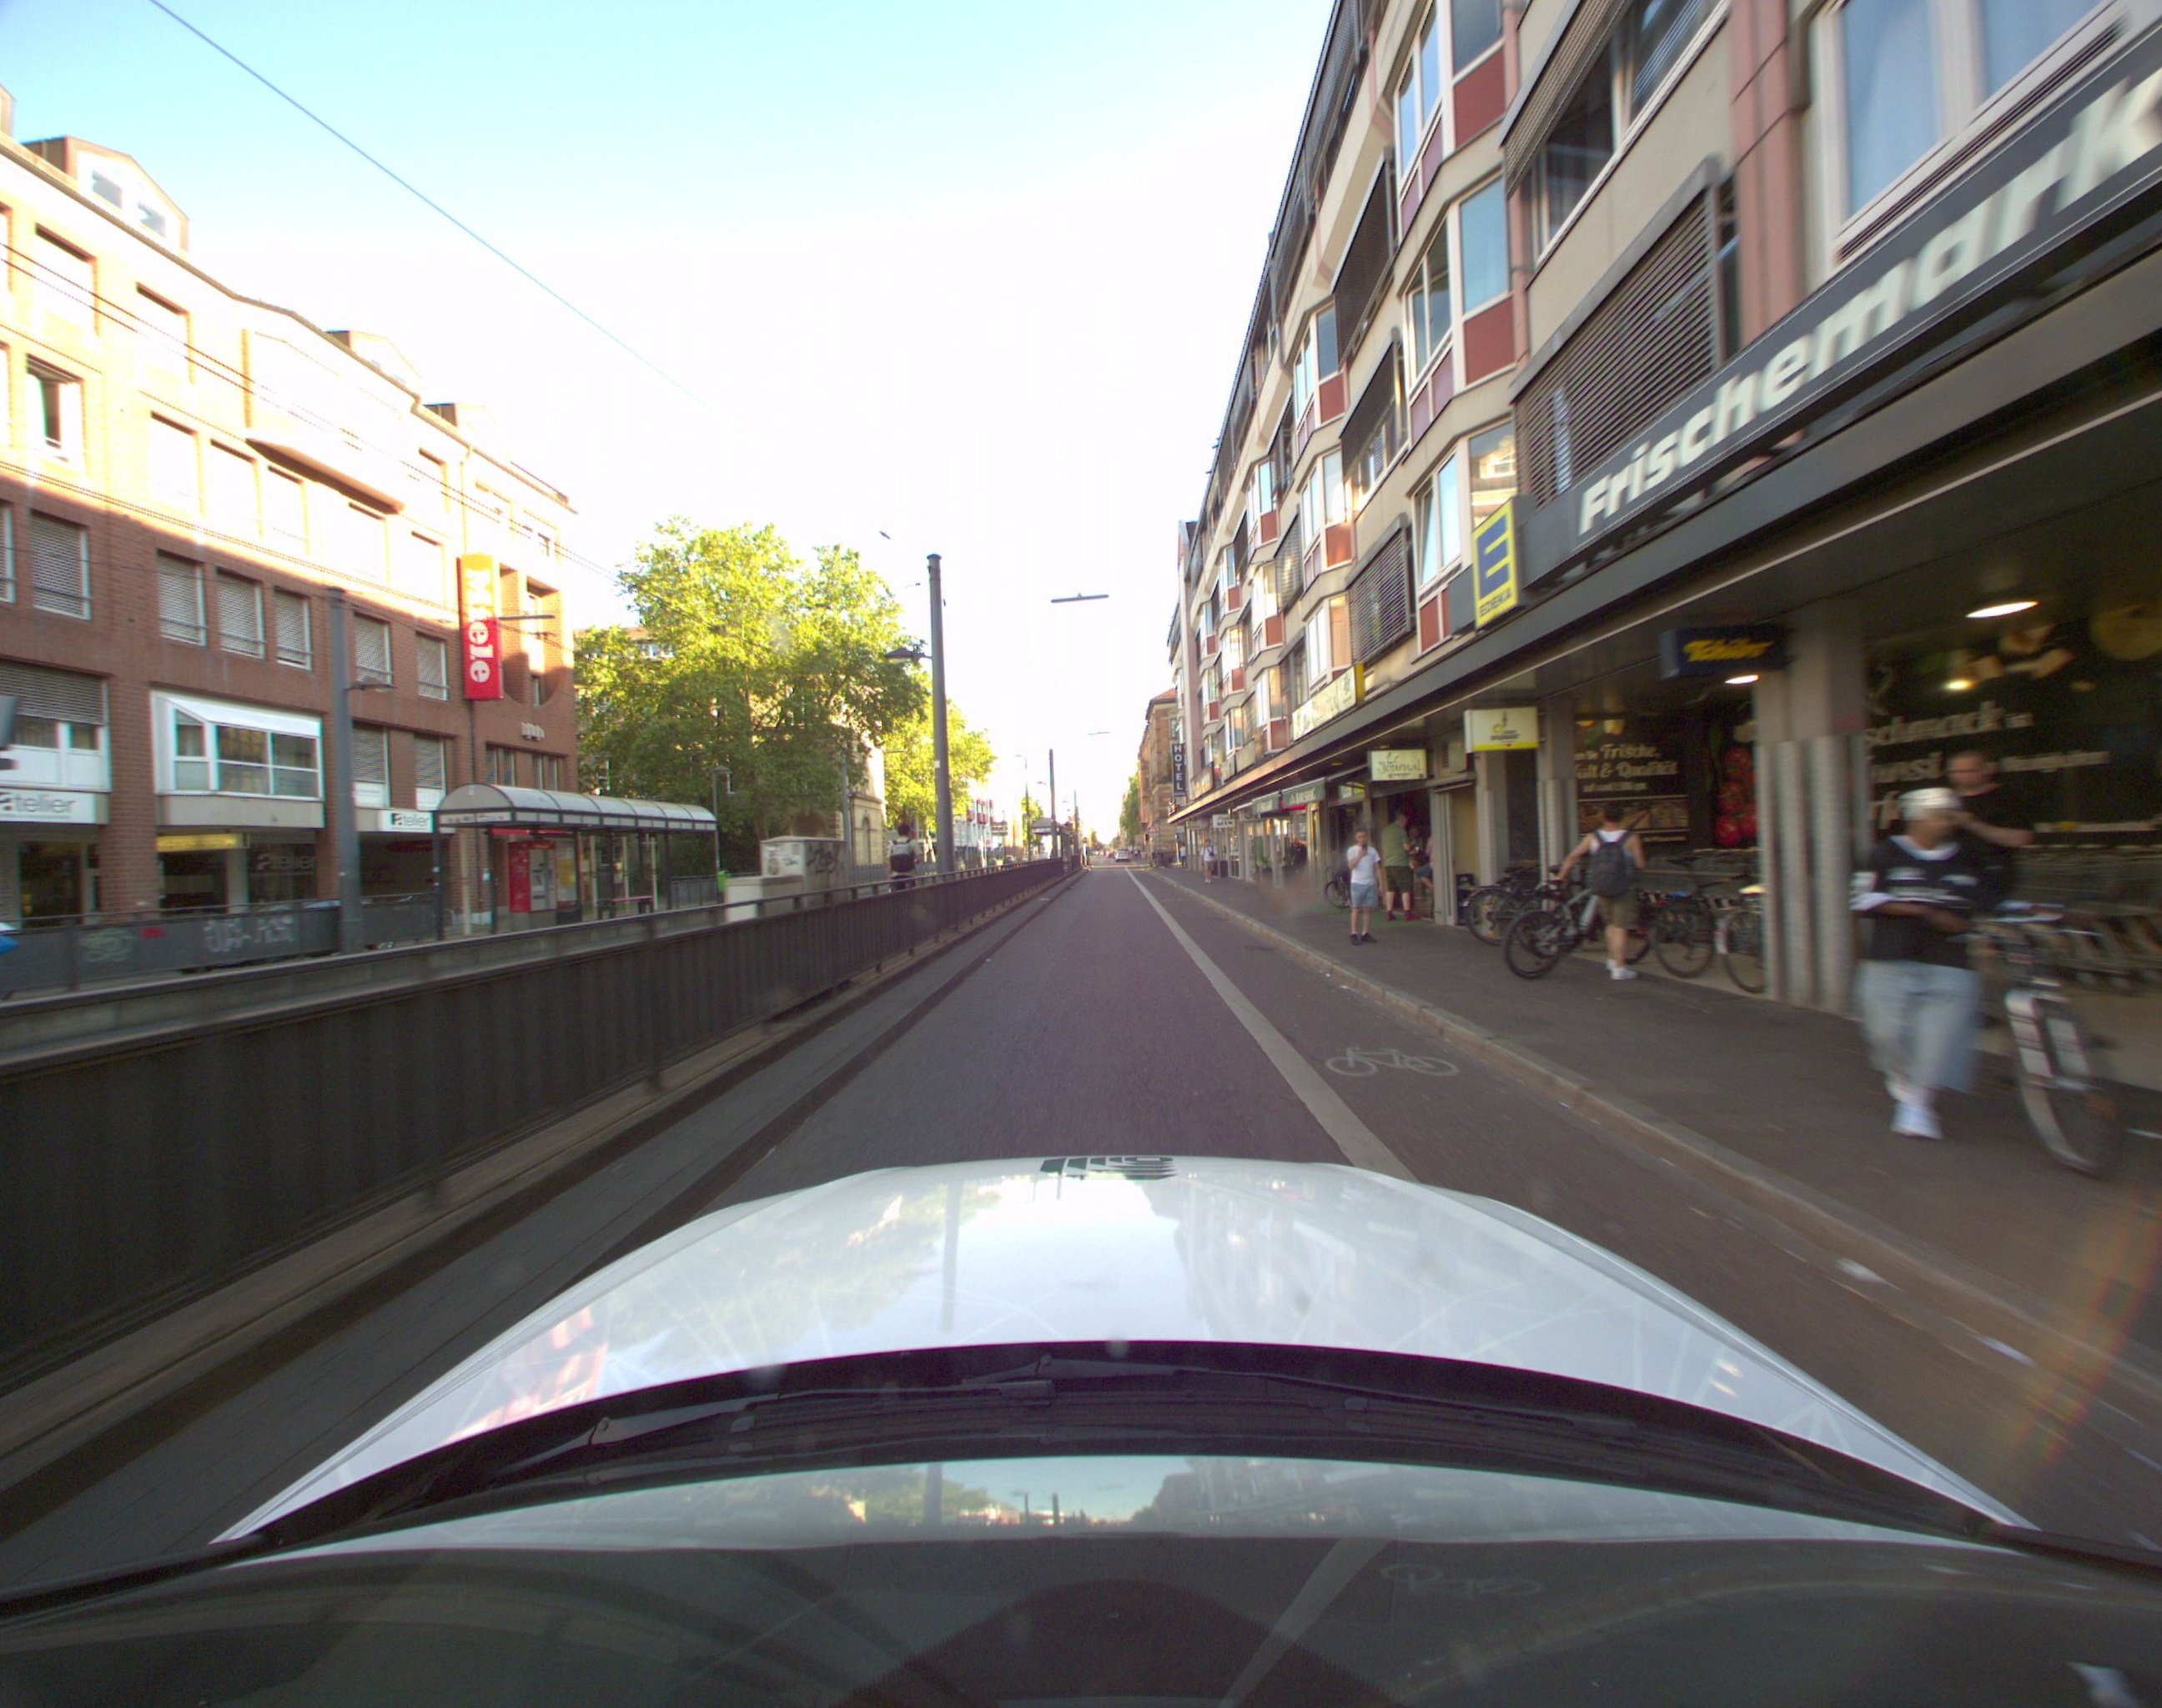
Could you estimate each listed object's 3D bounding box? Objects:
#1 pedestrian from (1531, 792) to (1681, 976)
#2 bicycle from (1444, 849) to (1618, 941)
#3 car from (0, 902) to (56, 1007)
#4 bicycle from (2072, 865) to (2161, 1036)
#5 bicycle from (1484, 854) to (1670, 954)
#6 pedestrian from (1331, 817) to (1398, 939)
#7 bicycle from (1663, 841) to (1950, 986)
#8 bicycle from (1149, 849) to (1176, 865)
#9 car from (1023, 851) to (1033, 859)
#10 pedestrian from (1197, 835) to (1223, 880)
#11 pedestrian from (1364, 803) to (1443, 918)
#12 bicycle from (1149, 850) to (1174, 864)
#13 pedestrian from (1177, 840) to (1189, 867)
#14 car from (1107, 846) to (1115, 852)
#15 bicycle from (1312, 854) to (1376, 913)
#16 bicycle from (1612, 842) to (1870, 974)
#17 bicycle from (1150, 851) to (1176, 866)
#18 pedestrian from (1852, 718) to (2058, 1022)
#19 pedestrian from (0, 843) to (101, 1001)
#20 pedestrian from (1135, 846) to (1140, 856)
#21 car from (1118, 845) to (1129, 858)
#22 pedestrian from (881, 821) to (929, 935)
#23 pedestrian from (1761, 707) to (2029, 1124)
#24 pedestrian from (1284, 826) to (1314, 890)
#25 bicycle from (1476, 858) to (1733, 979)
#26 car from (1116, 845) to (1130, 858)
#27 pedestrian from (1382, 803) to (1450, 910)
[{"bbox_3d":[5.136,0.282,8.031,0.774,1.663,0.917,-4,-1,1],"label":"pedestrian"},{"bbox_3d":[5.923,0.531,10.786,1.917,1.060,0.576,-4,0,1],"label":"bicycle"},{"bbox_3d":[-17.659,1.587,11.057,1.902,1.594,4.293,-4,-1,3],"label":"car"},{"bbox_3d":[7.150,0.511,4.797,1.918,0.938,0.576,-4,0,-1],"label":"bicycle"},{"bbox_3d":[5.707,0.570,9.429,1.721,0.973,0.507,-5,0,6],"label":"bicycle"},{"bbox_3d":[4.108,0.337,11.842,0.630,1.673,0.771,-3,-1,2],"label":"pedestrian"},{"bbox_3d":[6.179,0.487,6.990,1.918,1.060,0.576,-4,0,-1],"label":"bicycle"},{"bbox_3d":[6.284,0.235,62.997,1.964,1.104,0.614,-3,0,-2],"label":"bicycle"},{"bbox_3d":[-11.089,0.268,171.312,1.864,1.600,4.253,-2,0,-1],"label":"car"},{"bbox_3d":[5.224,0.156,33.024,0.795,1.722,1.062,-5,-1,3],"label":"pedestrian"},{"bbox_3d":[5.563,0.112,14.093,0.912,1.866,0.779,-4,-1,-1],"label":"pedestrian"},{"bbox_3d":[6.303,0.253,63.727,1.828,1.054,0.718,-2,0,-2],"label":"bicycle"},{"bbox_3d":[7.352,-0.032,58.651,0.809,1.884,0.777,1,0,3],"label":"pedestrian"},{"bbox_3d":[8.657,-1.438,234.715,2.033,1.674,4.878,-1,1,2],"label":"car"},{"bbox_3d":[5.357,0.567,16.686,0.655,1.067,1.795,-7,0,1],"label":"bicycle"},{"bbox_3d":[6.158,0.484,7.650,1.918,1.060,0.576,-4,0,-1],"label":"bicycle"},{"bbox_3d":[6.283,0.356,62.340,1.908,1.047,0.681,-2,0,-2],"label":"bicycle"},{"bbox_3d":[5.773,0.090,5.392,0.736,1.816,0.798,-2,0,-35],"label":"pedestrian"},{"bbox_3d":[-11.784,0.728,8.904,0.908,1.662,0.968,-2,0,1],"label":"pedestrian"},{"bbox_3d":[9.553,-0.462,137.793,0.772,1.567,0.914,-6,0,3],"label":"pedestrian"},{"bbox_3d":[7.050,-0.426,135.590,1.697,2.120,3.711,-2,-1,5],"label":"car"},{"bbox_3d":[-2.853,0.383,13.253,0.581,1.791,0.606,-2,0,0],"label":"pedestrian"},{"bbox_3d":[4.061,0.261,4.080,0.736,1.816,0.798,-2,0,-36],"label":"pedestrian"},{"bbox_3d":[5.857,0.105,21.870,0.540,1.673,0.468,-3,-1,-7],"label":"pedestrian"},{"bbox_3d":[5.116,0.616,8.056,2.013,0.973,0.660,-5,0,4],"label":"bicycle"},{"bbox_3d":[5.815,-0.356,112.913,1.958,1.771,4.879,-1,0,3],"label":"car"},{"bbox_3d":[6.154,0.046,14.967,0.779,1.866,0.683,-4,-1,-18],"label":"pedestrian"}]
